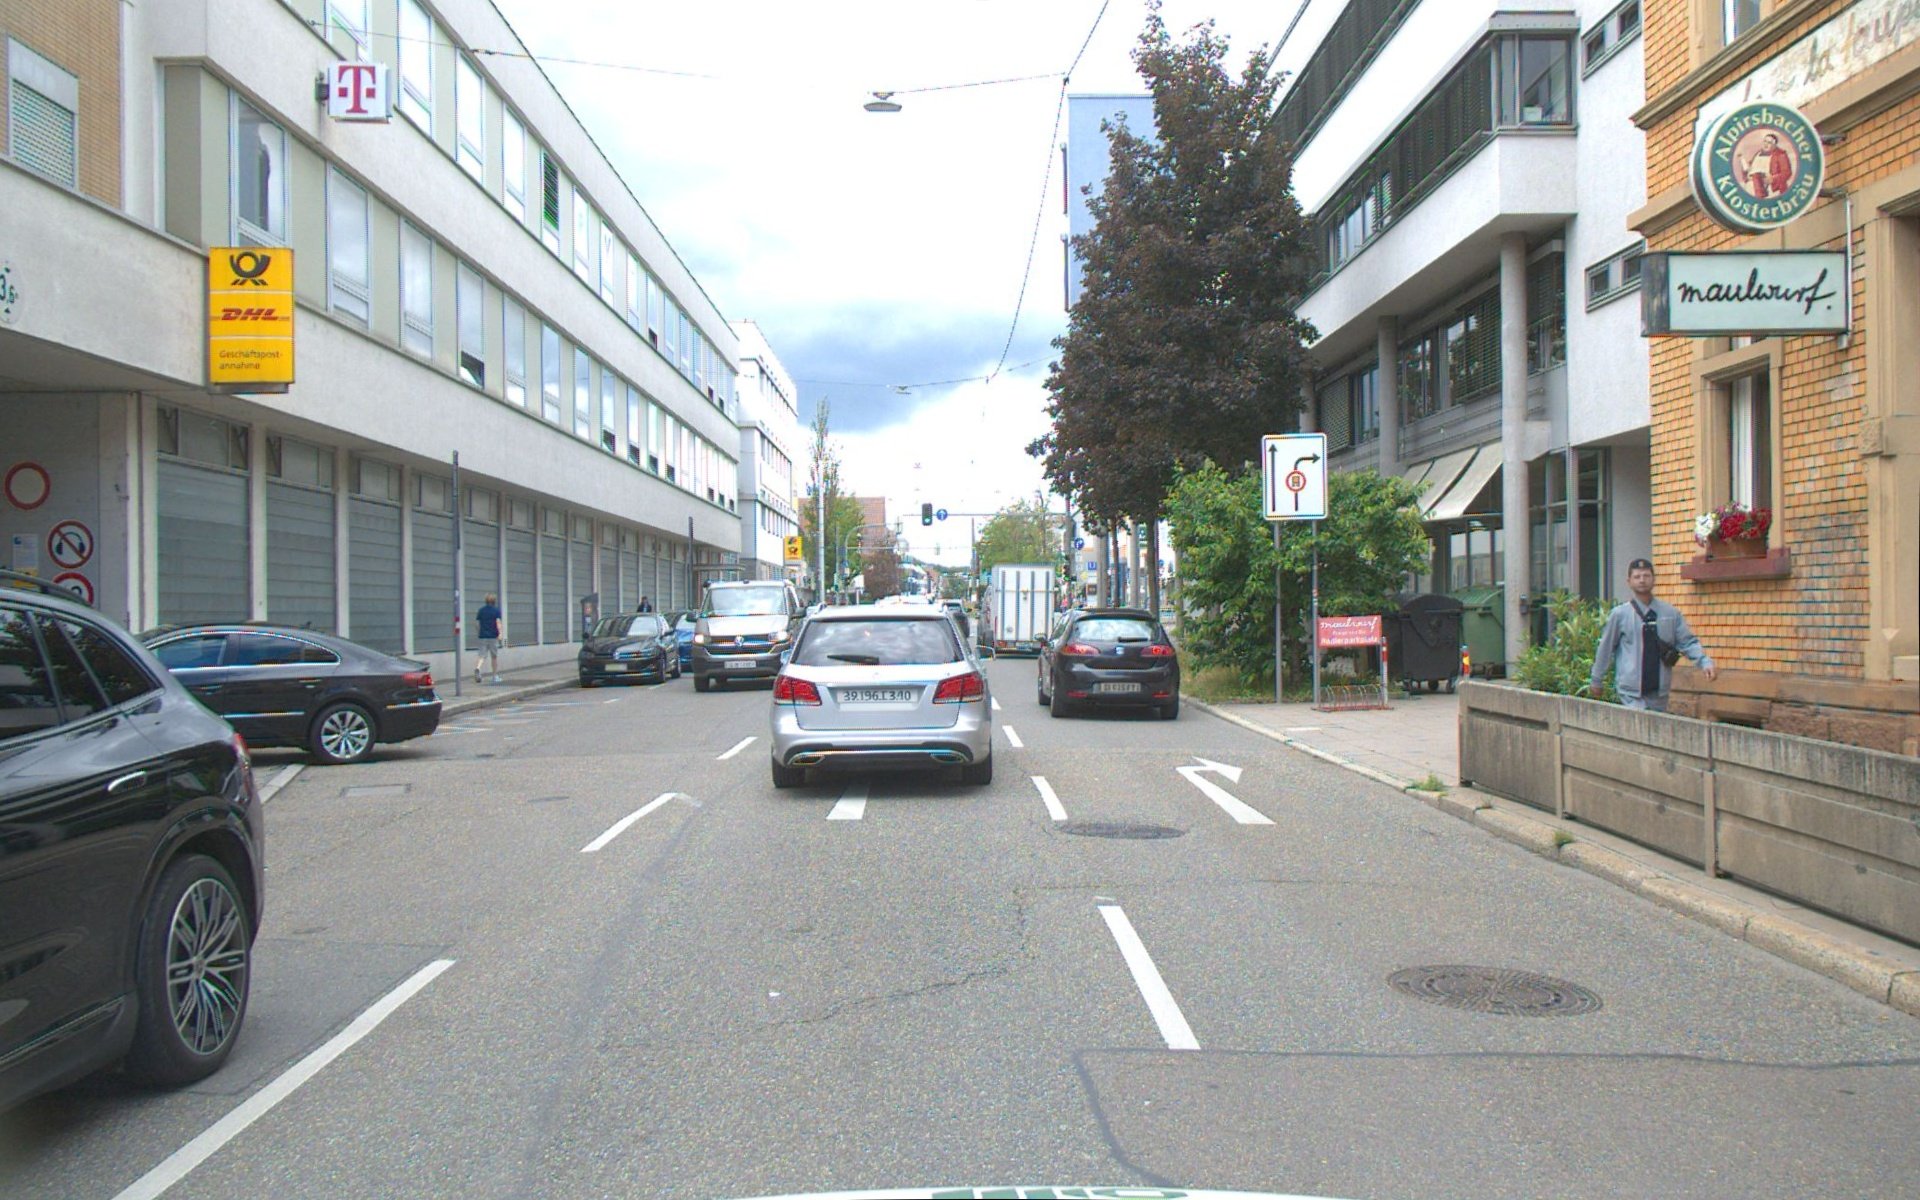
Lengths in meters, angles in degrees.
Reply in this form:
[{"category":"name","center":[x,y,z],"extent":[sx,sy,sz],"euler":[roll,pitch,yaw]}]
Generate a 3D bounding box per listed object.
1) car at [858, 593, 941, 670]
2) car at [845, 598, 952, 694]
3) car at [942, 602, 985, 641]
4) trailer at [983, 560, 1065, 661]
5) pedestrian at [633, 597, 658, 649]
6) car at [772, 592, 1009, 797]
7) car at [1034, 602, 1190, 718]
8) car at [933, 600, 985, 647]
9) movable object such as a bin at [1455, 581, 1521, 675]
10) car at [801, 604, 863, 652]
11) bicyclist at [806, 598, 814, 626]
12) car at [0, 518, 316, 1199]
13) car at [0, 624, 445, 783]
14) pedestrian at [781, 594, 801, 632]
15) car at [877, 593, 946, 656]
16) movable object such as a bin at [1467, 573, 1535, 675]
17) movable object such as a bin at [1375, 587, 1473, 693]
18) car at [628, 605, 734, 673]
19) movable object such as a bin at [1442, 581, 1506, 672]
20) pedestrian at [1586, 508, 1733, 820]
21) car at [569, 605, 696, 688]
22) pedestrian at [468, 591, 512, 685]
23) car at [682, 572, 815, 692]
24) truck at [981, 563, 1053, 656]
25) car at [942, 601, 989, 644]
[{"category":"car","center":[-1.331,0.674,37.338],"extent":[1.767,1.629,3.736],"euler":[0,0,-1]},{"category":"car","center":[-1.061,0.767,29.406],"extent":[1.767,1.580,3.736],"euler":[-1,0,-1]},{"category":"car","center":[0.135,0.901,71.652],"extent":[1.767,1.629,3.736],"euler":[0,0,-1]},{"category":"trailer","center":[1.738,0.274,46.609],"extent":[1.953,2.653,5.347],"euler":[-1,0,-1]},{"category":"pedestrian","center":[-9.962,0.722,52.378],"extent":[0.642,1.651,0.681],"euler":[-1,0,0]},{"category":"car","center":[-0.562,0.709,14.324],"extent":[1.767,1.519,3.736],"euler":[-1,0,-1]},{"category":"car","center":[2.045,0.777,23.209],"extent":[1.730,1.458,3.827],"euler":[-1,0,-1]},{"category":"car","center":[-0.054,0.810,58.922],"extent":[1.767,1.629,3.736],"euler":[0,0,-1]},{"category":"movable object such as a bin","center":[8.944,0.476,28.052],"extent":[0.804,1.516,0.732],"euler":[-3,-1,0]},{"category":"car","center":[-4.083,0.866,53.409],"extent":[1.733,1.438,4.173],"euler":[-2,0,-1]},{"category":"bicyclist","center":[-9.260,0.717,102.365],"extent":[0.436,1.727,0.555],"euler":[1,-1,-2]},{"category":"car","center":[-3.442,0.715,4.073],"extent":[1.953,1.769,4.552],"euler":[-3,0,-1]},{"category":"car","center":[-7.700,0.982,16.982],"extent":[4.353,1.389,1.767],"euler":[-1,0,-31]},{"category":"pedestrian","center":[-8.556,0.659,83.694],"extent":[0.899,1.901,0.783],"euler":[-1,0,-2]},{"category":"car","center":[-1.309,0.646,45.076],"extent":[1.767,1.629,3.736],"euler":[0,0,-1]},{"category":"movable object such as a bin","center":[8.921,0.399,27.298],"extent":[0.804,1.617,0.732],"euler":[-3,-1,0]},{"category":"movable object such as a bin","center":[6.890,0.579,24.634],"extent":[0.924,1.496,1.445],"euler":[-2,0,-3]},{"category":"car","center":[-6.762,0.909,40.458],"extent":[1.953,1.543,4.173],"euler":[-1,0,-1]},{"category":"movable object such as a bin","center":[8.940,0.463,28.810],"extent":[0.804,1.530,0.732],"euler":[-3,-1,0]},{"category":"pedestrian","center":[4.743,0.421,11.245],"extent":[0.679,2.049,0.676],"euler":[-1,0,-2]},{"category":"car","center":[-6.804,0.923,34.772],"extent":[1.874,1.543,4.173],"euler":[-2,0,-1]},{"category":"pedestrian","center":[-9.150,0.728,32.207],"extent":[0.629,1.800,0.809],"euler":[-1,-1,-1]},{"category":"car","center":[-3.936,0.562,31.580],"extent":[1.953,2.049,4.901],"euler":[-2,0,-1]},{"category":"truck","center":[1.669,0.267,49.409],"extent":[1.953,2.653,3.259],"euler":[-1,0,-1]},{"category":"car","center":[0.198,0.872,65.544],"extent":[1.767,1.629,3.736],"euler":[0,0,-1]}]
